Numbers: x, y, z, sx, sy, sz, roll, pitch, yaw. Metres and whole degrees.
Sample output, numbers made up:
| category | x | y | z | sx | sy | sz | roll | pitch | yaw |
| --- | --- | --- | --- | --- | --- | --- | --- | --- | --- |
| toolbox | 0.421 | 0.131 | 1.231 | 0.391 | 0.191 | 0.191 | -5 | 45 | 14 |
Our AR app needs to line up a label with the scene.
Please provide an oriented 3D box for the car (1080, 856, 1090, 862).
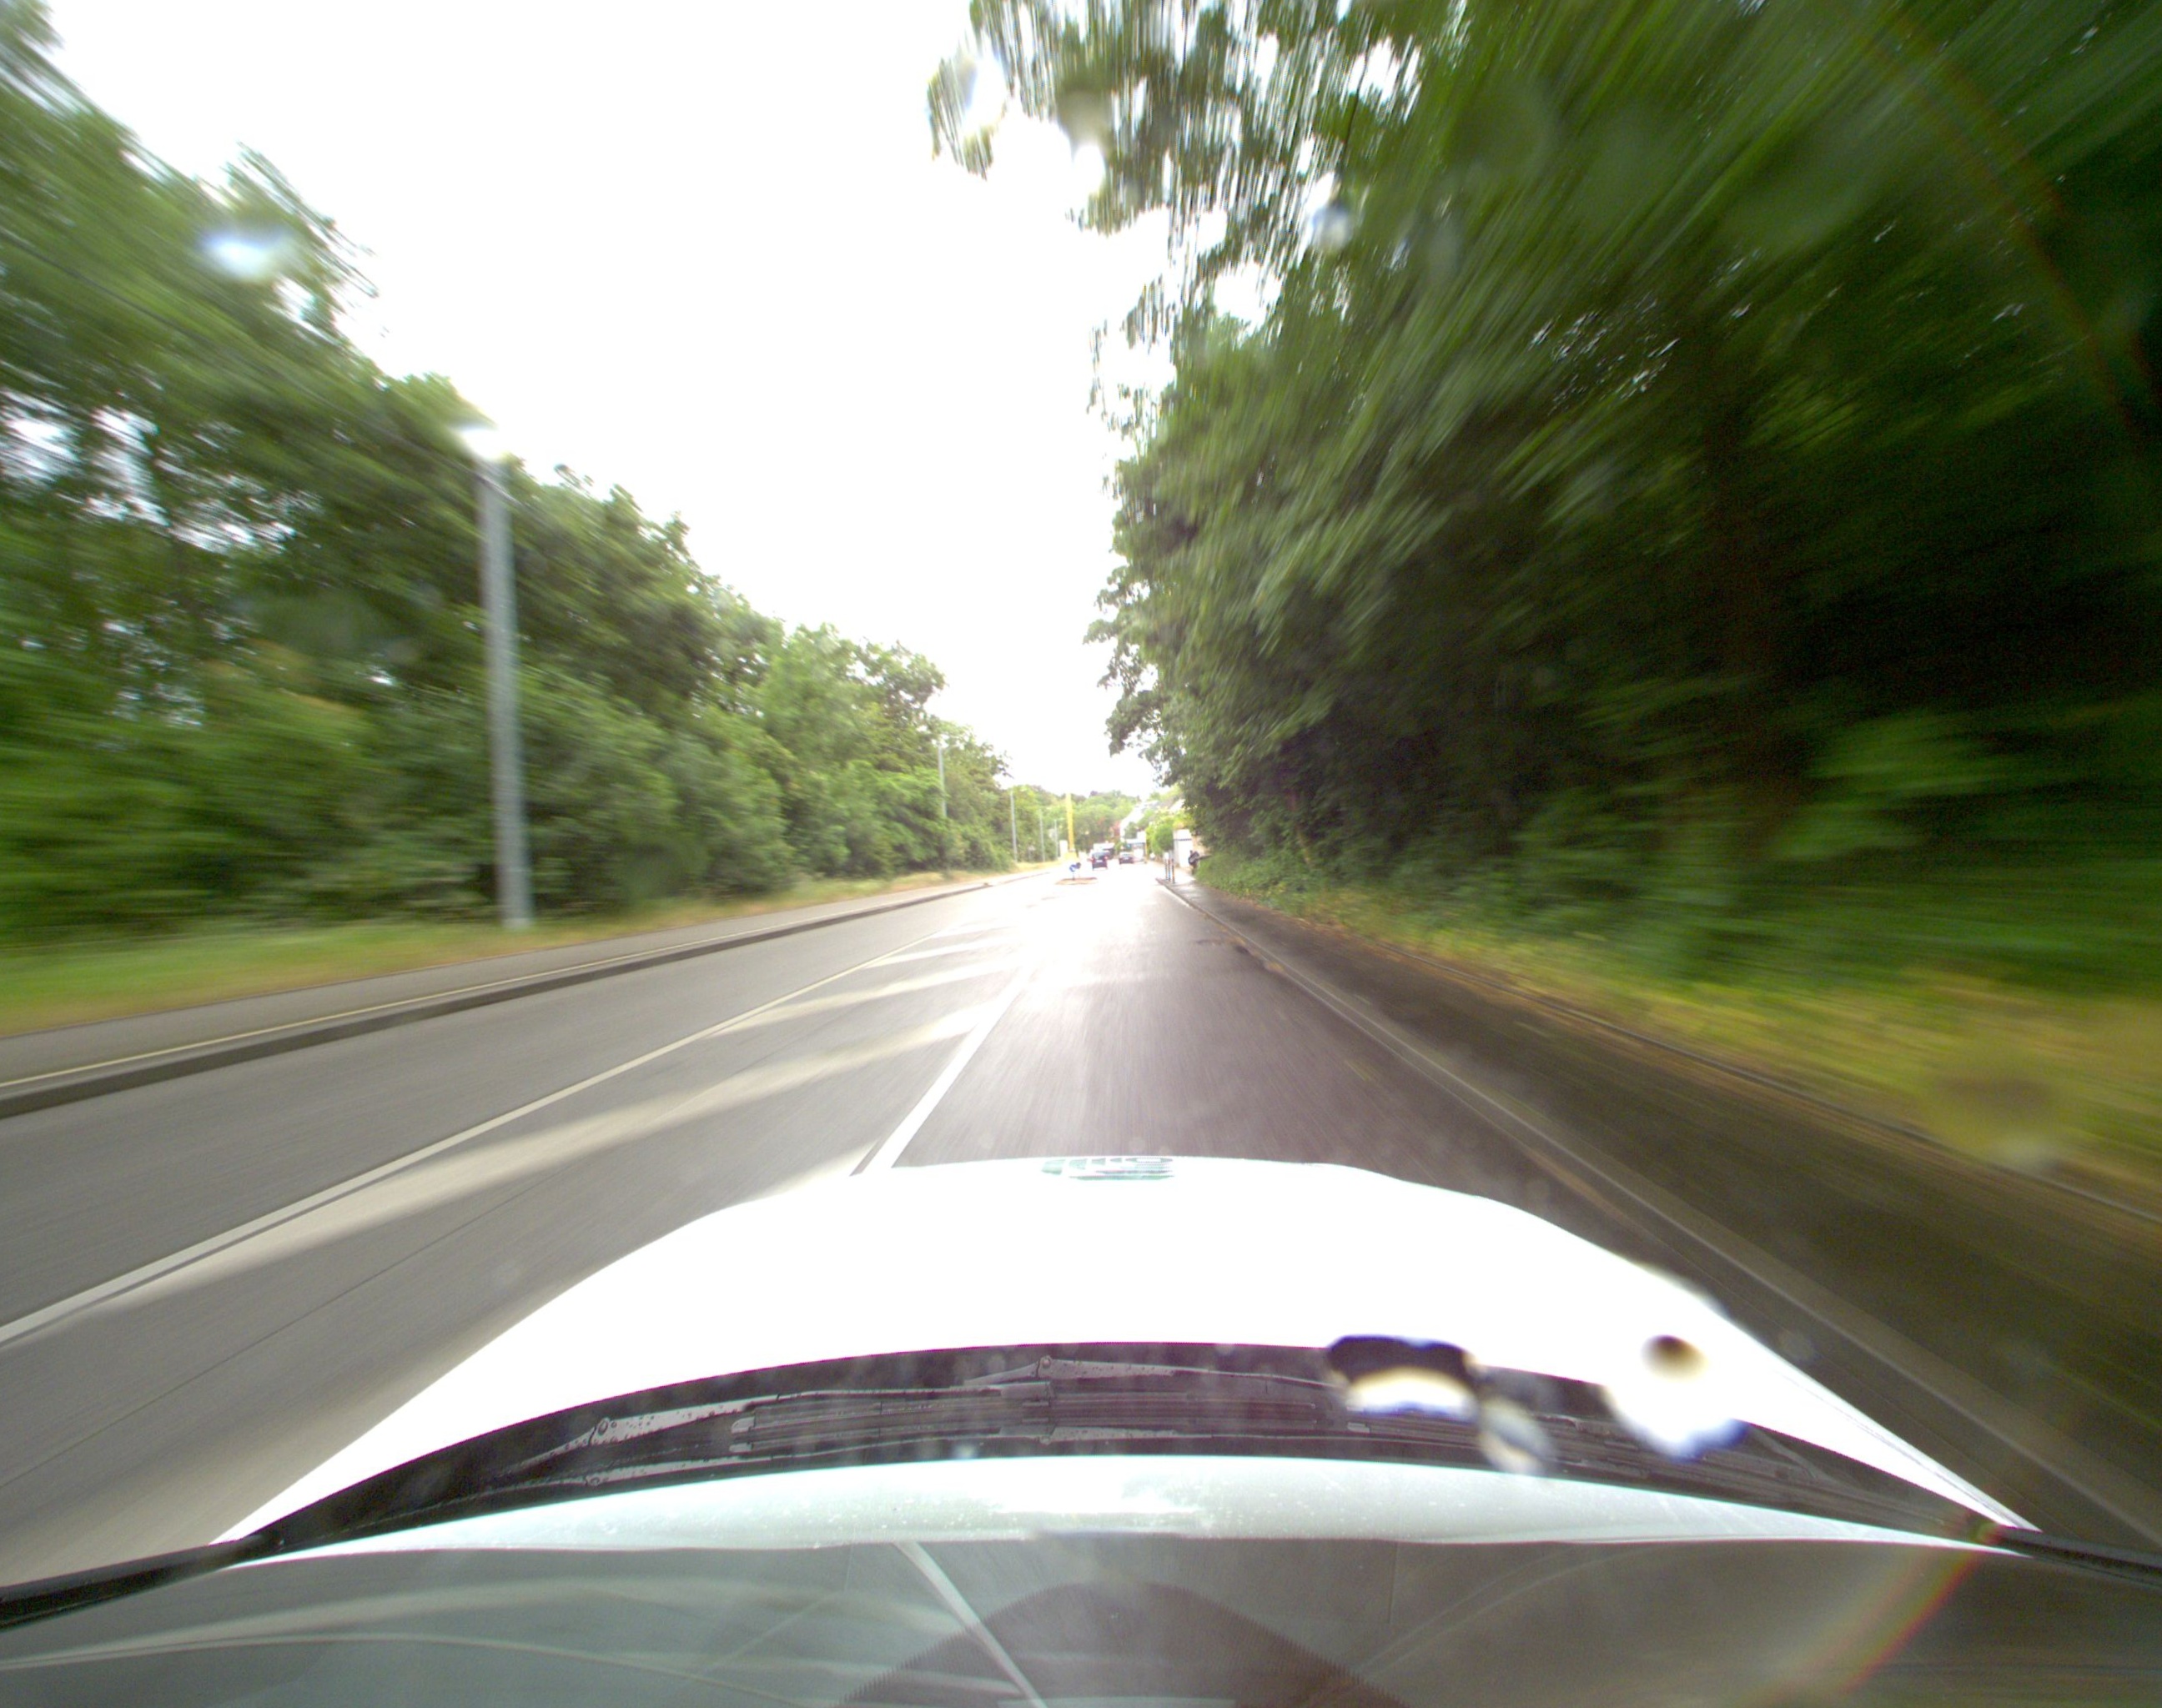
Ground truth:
| category | x | y | z | sx | sy | sz | roll | pitch | yaw |
| --- | --- | --- | --- | --- | --- | --- | --- | --- | --- |
| car | 1.028 | 1.370 | 214.735 | 1.740 | 1.552 | 3.841 | -1 | -1 | -11 |

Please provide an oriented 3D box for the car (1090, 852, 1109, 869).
| category | x | y | z | sx | sy | sz | roll | pitch | yaw |
| --- | --- | --- | --- | --- | --- | --- | --- | --- | --- |
| car | 1.874 | 0.630 | 82.052 | 1.660 | 1.594 | 3.686 | -2 | 0 | 3 |

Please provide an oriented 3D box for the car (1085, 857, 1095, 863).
| category | x | y | z | sx | sy | sz | roll | pitch | yaw |
| --- | --- | --- | --- | --- | --- | --- | --- | --- | --- |
| car | 2.304 | 1.486 | 209.415 | 1.741 | 1.552 | 3.841 | -2 | 0 | -11 |

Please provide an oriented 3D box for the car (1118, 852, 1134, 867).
| category | x | y | z | sx | sy | sz | roll | pitch | yaw |
| --- | --- | --- | --- | --- | --- | --- | --- | --- | --- |
| car | 5.750 | 0.692 | 104.085 | 1.985 | 1.772 | 4.118 | 0 | 0 | 3 |

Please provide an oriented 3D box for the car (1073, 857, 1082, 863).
| category | x | y | z | sx | sy | sz | roll | pitch | yaw |
| --- | --- | --- | --- | --- | --- | --- | --- | --- | --- |
| car | -1.032 | 1.684 | 221.583 | 1.741 | 1.552 | 3.841 | -2 | 0 | -11 |
